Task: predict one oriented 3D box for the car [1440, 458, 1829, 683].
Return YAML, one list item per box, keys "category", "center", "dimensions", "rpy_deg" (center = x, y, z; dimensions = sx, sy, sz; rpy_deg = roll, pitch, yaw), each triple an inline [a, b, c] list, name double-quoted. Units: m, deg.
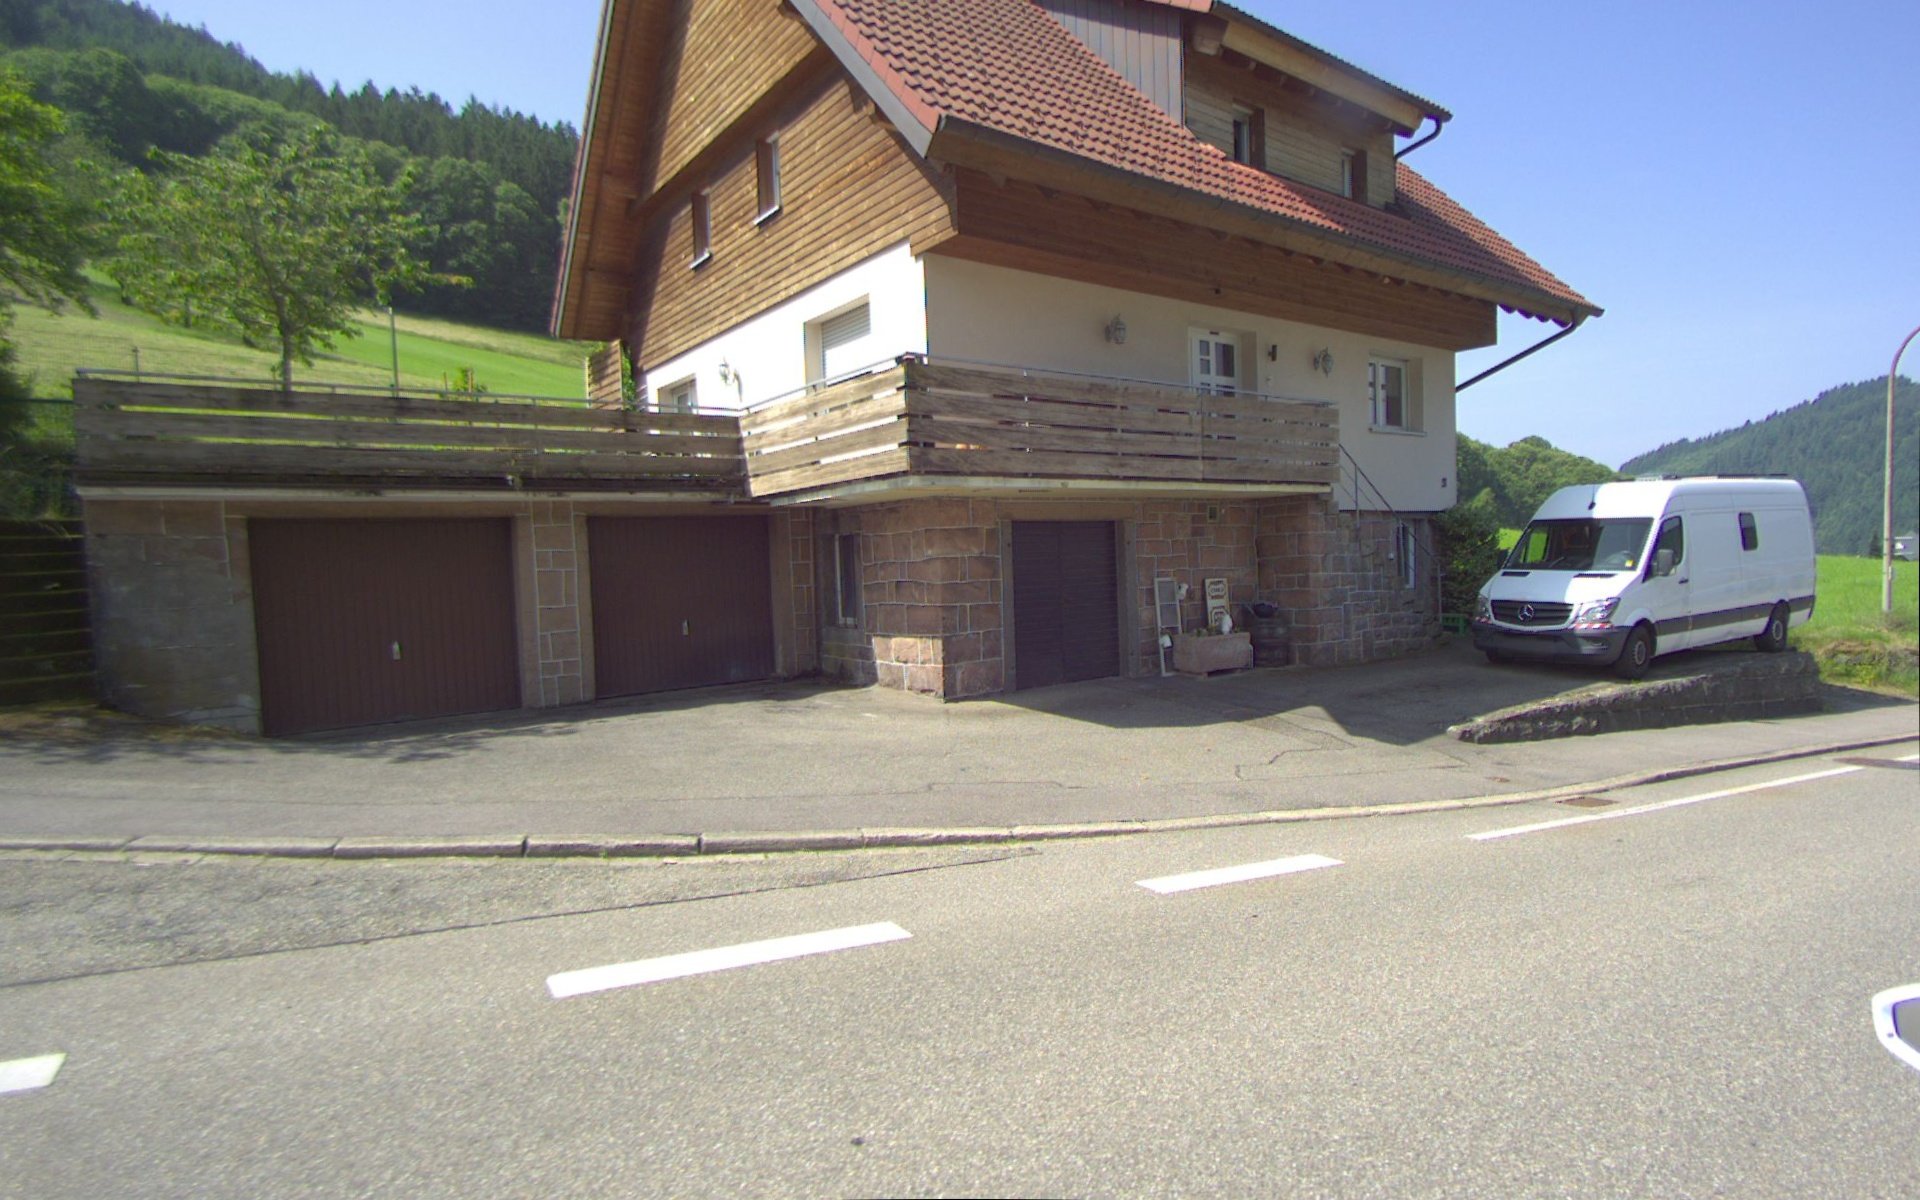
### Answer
- category: "car"
  center: [10.224, -0.552, 14.955]
  dimensions: [7.092, 2.725, 2.056]
  rpy_deg: [-3, 4, -32]
